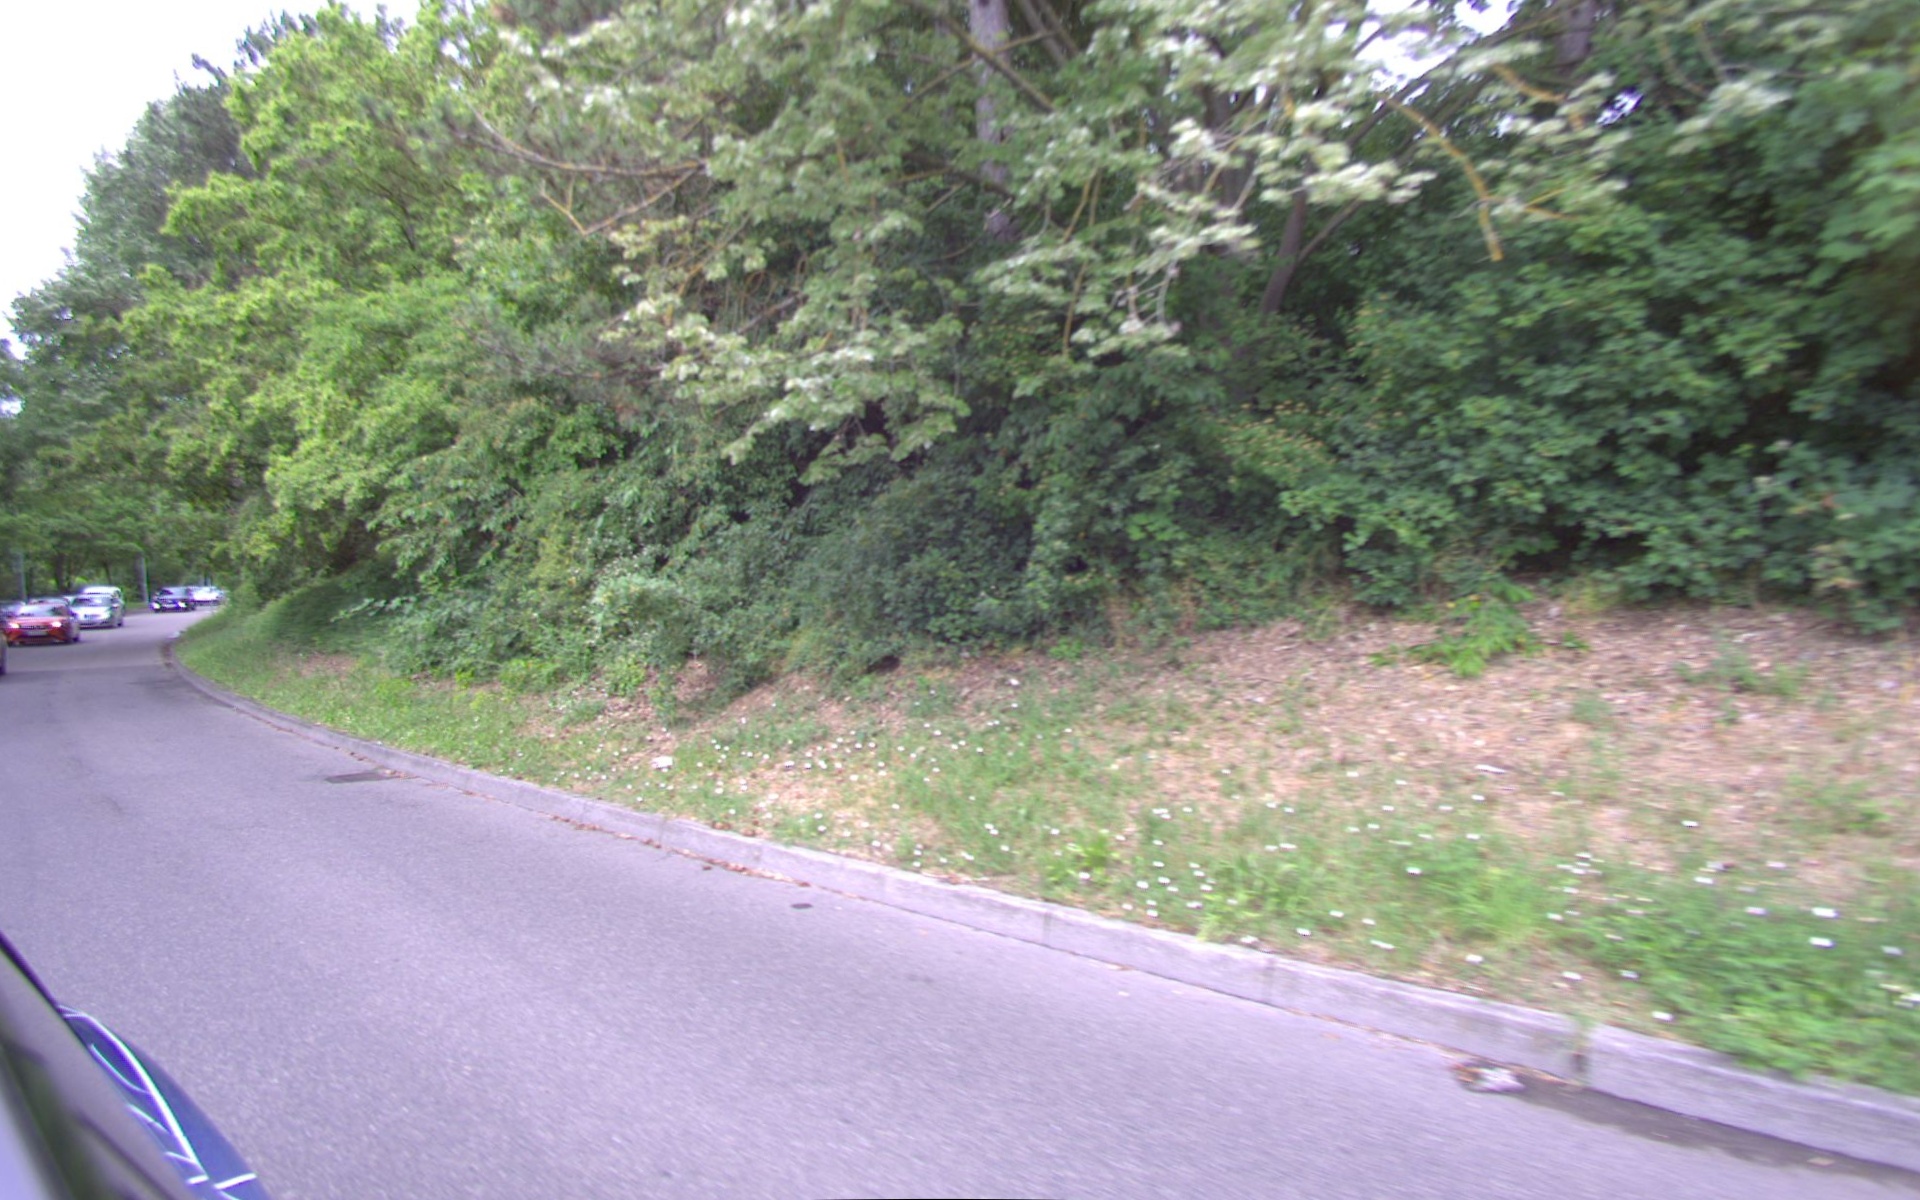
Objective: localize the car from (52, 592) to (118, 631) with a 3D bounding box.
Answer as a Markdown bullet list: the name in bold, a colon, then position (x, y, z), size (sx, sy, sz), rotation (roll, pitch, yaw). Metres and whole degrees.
- **car**: position (-40.393, 0.508, 46.811), size (1.892, 1.694, 4.010), rotation (0, 0, -35)

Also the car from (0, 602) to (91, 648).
- **car**: position (-32.055, 0.825, 35.379), size (1.837, 1.459, 4.188), rotation (-2, 1, -31)

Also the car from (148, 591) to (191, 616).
- **car**: position (-52.121, 0.205, 66.813), size (1.739, 1.528, 4.012), rotation (-3, 2, -31)

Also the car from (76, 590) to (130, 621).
- **car**: position (-52.115, 0.317, 61.631), size (1.837, 1.739, 4.188), rotation (-2, 1, -31)

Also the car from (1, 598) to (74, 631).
- **car**: position (-45.306, 0.689, 49.776), size (1.837, 1.459, 4.188), rotation (-2, 1, -31)

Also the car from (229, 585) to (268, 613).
- **car**: position (-57.051, -0.112, 81.208), size (2.115, 2.028, 4.013), rotation (-2, 2, -30)

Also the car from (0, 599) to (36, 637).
- **car**: position (-41.950, 0.783, 44.074), size (1.837, 1.579, 4.187), rotation (-2, 1, -33)
